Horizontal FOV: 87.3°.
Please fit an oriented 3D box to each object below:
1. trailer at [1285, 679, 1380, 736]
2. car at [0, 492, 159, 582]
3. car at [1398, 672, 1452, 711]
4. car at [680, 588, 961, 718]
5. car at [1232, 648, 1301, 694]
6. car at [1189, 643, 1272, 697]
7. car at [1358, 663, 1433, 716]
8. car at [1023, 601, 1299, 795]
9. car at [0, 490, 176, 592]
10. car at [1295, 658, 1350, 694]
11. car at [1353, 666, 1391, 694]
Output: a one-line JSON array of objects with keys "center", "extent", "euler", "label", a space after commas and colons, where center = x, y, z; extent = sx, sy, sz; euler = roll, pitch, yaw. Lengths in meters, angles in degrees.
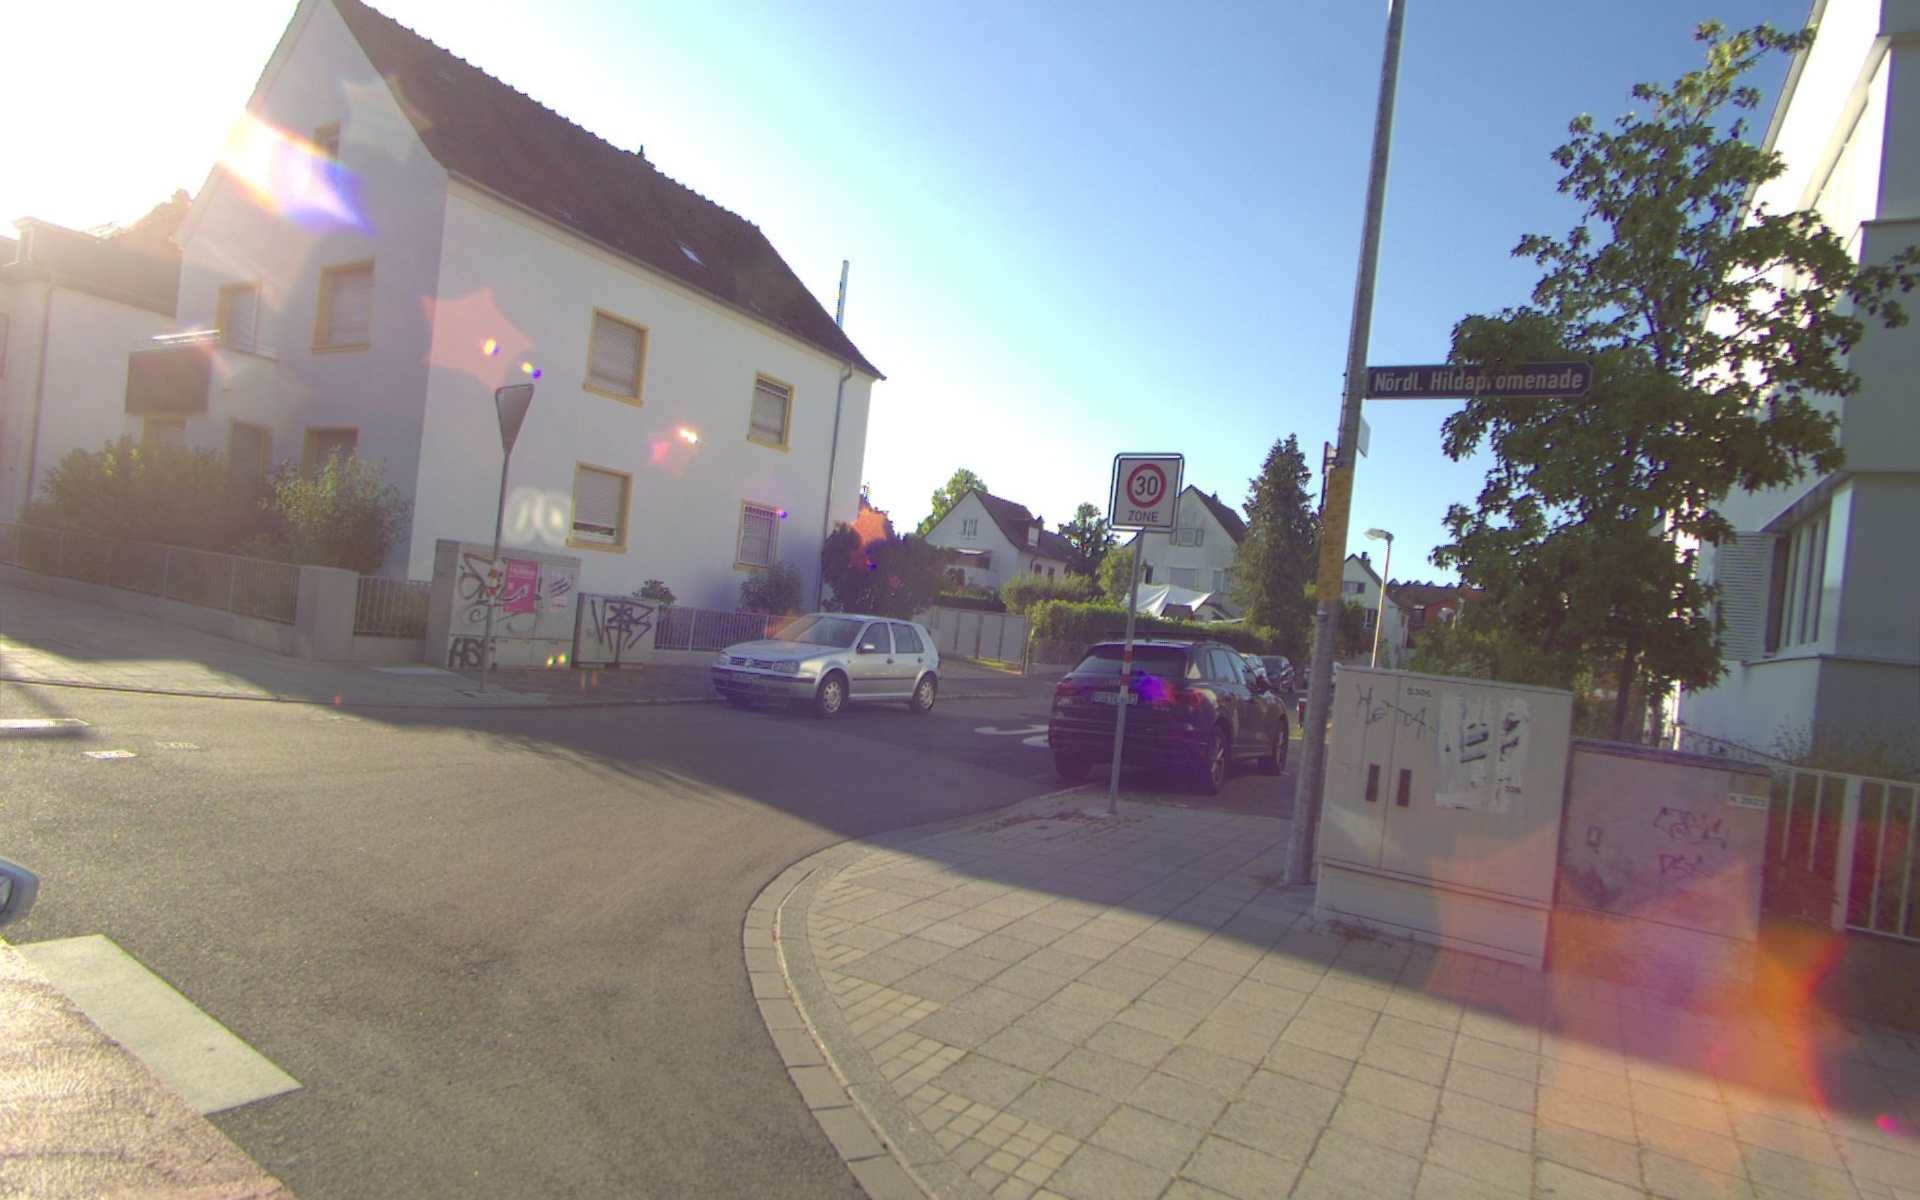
[{"center": [8.613, 2.428, 23.167], "extent": [1.646, 1.032, 2.614], "euler": [5, -1, 29], "label": "trailer"}, {"center": [-21.584, -1.529, 23.351], "extent": [1.821, 1.747, 4.225], "euler": [5, -1, 28], "label": "car"}, {"center": [22.035, 4.310, 47.554], "extent": [1.772, 1.553, 4.385], "euler": [5, -1, 31], "label": "car"}, {"center": [-1.857, 0.851, 14.695], "extent": [1.862, 1.486, 4.081], "euler": [5, -3, 30], "label": "car"}, {"center": [12.610, 2.933, 41.211], "extent": [1.771, 1.552, 4.128], "euler": [5, -3, 29], "label": "car"}, {"center": [9.572, 2.484, 35.412], "extent": [1.771, 1.552, 4.128], "euler": [5, -3, 29], "label": "car"}, {"center": [15.392, 3.135, 35.462], "extent": [1.772, 1.553, 4.385], "euler": [5, -1, 31], "label": "car"}, {"center": [2.535, 1.129, 11.786], "extent": [1.862, 1.708, 4.100], "euler": [5, -3, 30], "label": "car"}, {"center": [-19.752, -1.332, 21.493], "extent": [1.821, 1.745, 4.229], "euler": [5, -3, 28], "label": "car"}, {"center": [18.968, 3.993, 52.485], "extent": [1.772, 1.552, 4.389], "euler": [5, -3, 31], "label": "car"}, {"center": [27.626, 5.349, 67.340], "extent": [1.771, 1.552, 4.128], "euler": [5, -3, 29], "label": "car"}]
